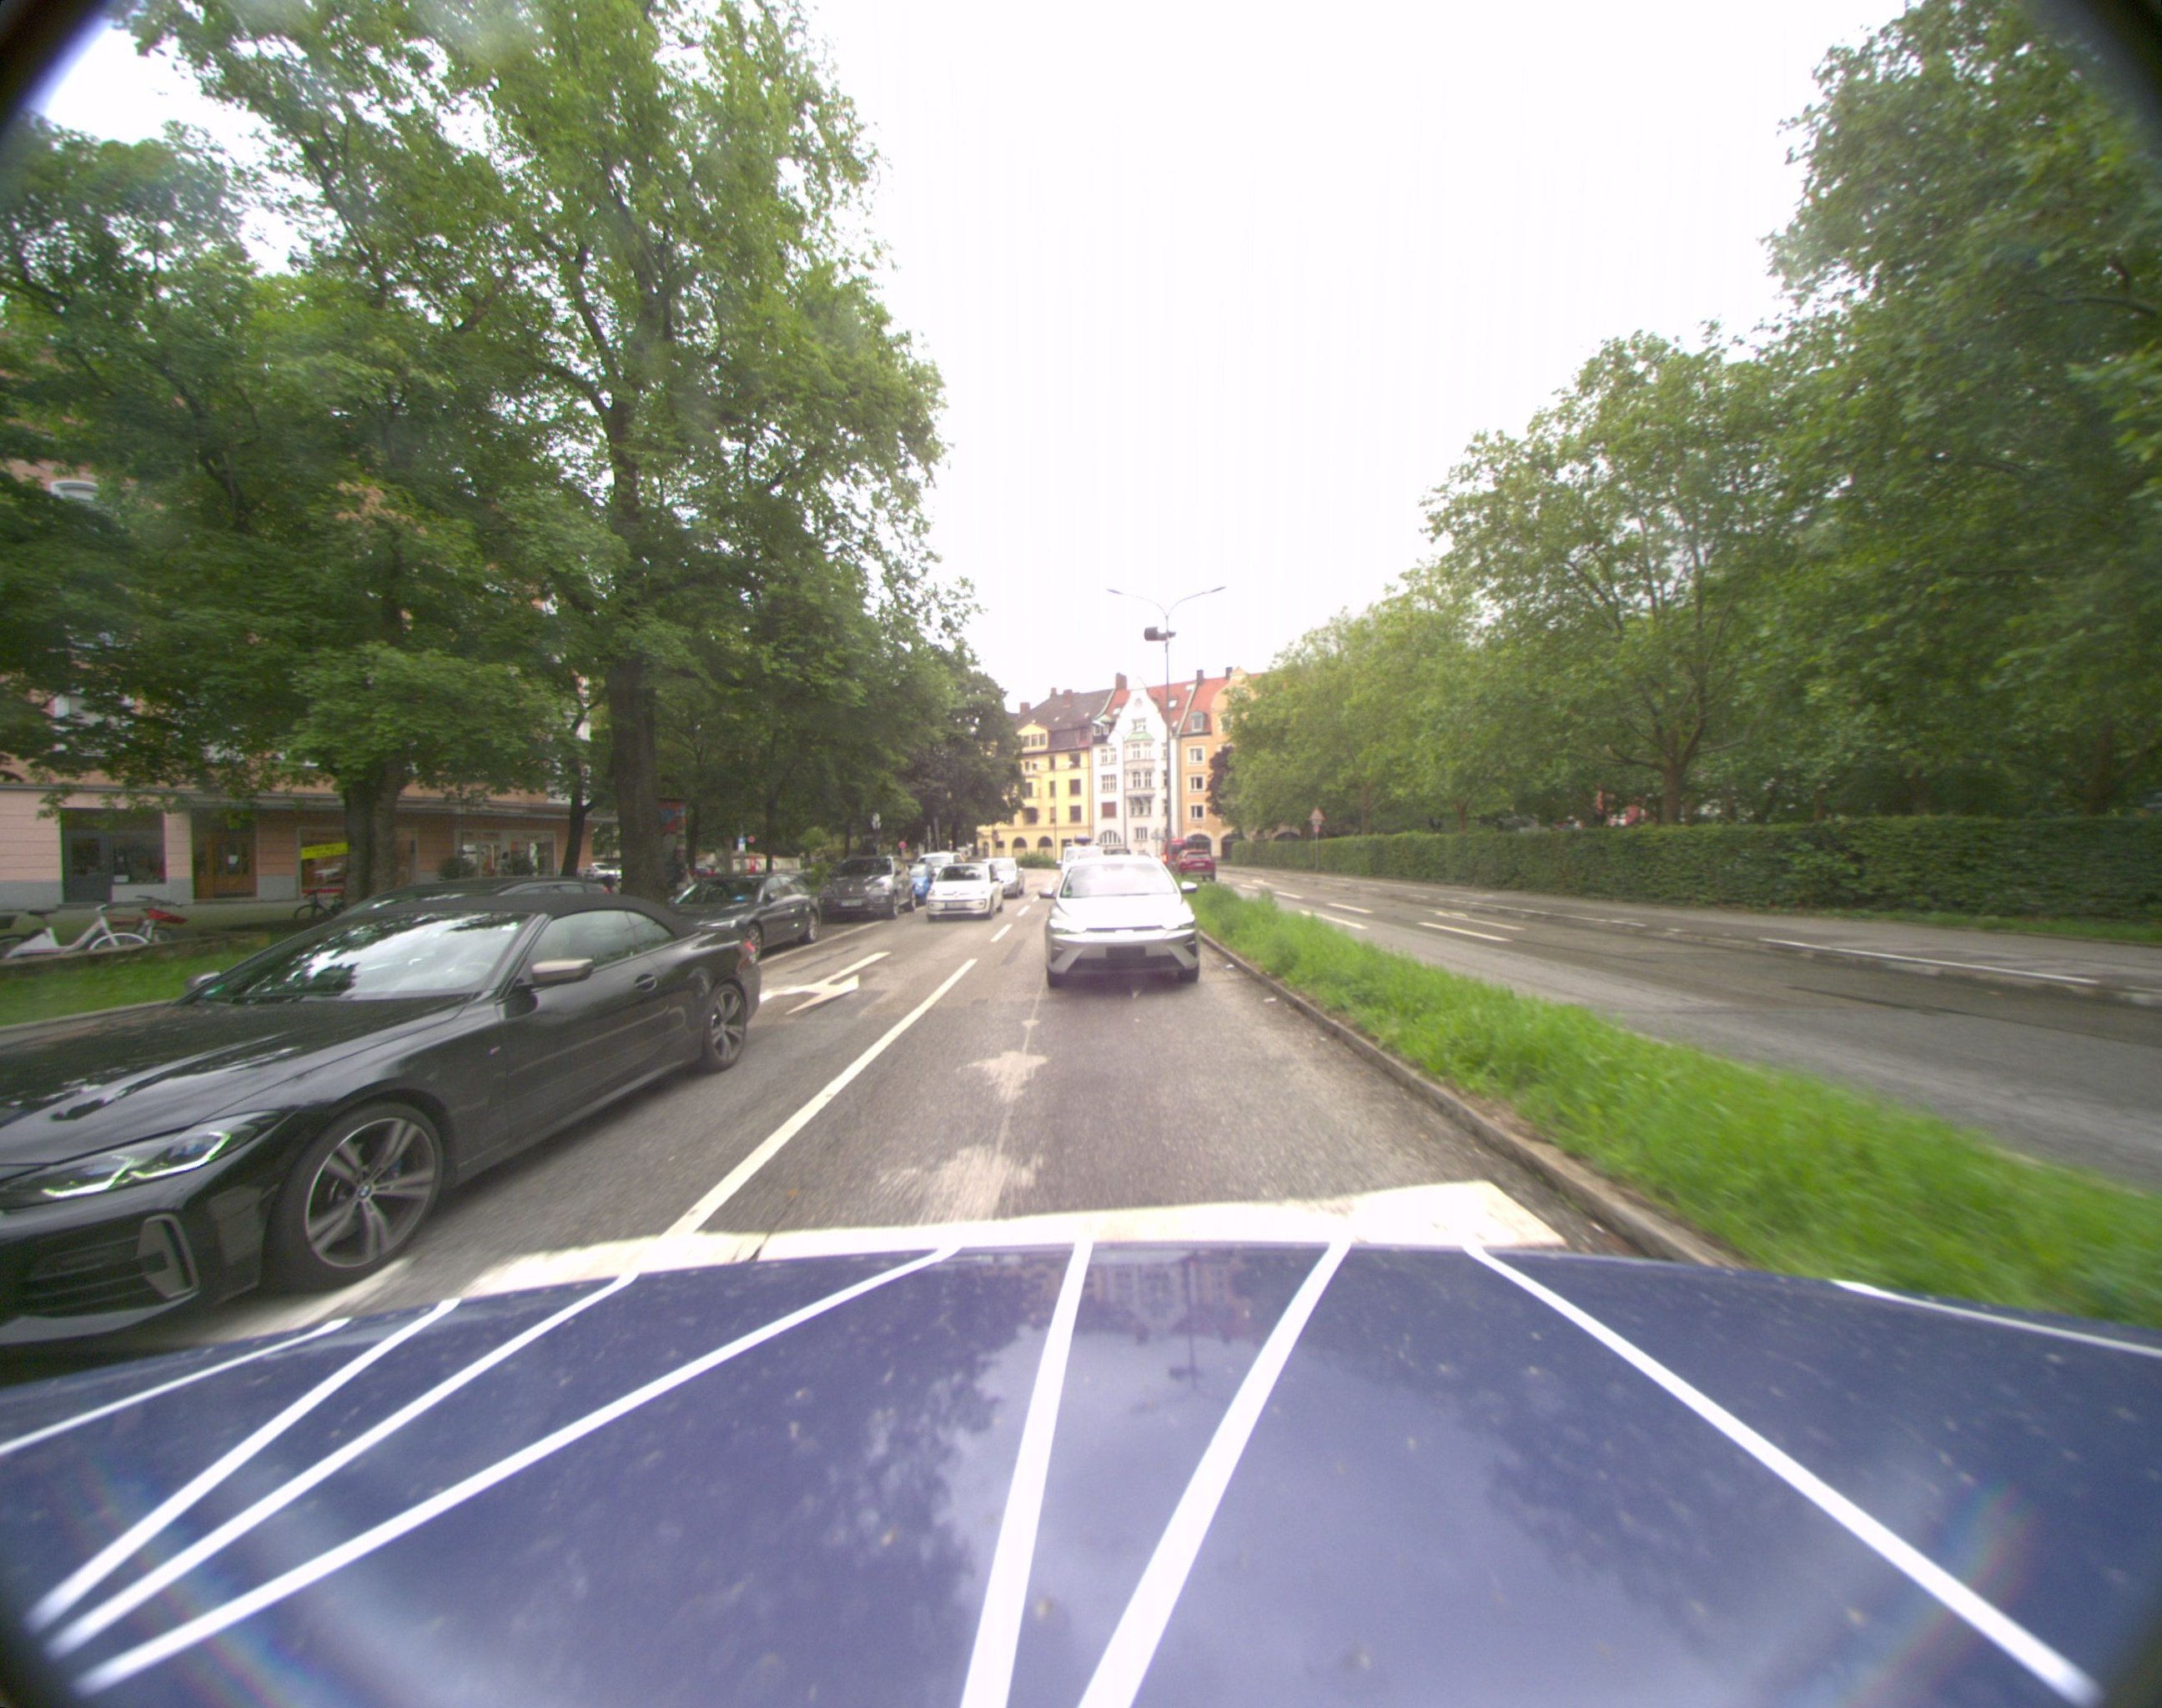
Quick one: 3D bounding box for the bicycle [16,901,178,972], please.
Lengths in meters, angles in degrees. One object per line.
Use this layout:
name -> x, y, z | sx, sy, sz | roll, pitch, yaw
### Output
bicycle -> -14.758, 1.223, 11.446 | 1.415, 0.889, 0.312 | -3, 2, -37

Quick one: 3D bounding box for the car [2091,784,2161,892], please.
car -> 28.027, -0.499, 17.758 | 5.858, 2.521, 2.000 | -2, 1, 3

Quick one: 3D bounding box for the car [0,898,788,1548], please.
car -> -3.568, 1.103, 4.340 | 1.728, 1.381, 4.799 | -1, 0, 2

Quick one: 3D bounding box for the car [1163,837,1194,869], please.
car -> 8.218, -0.035, 64.539 | 2.108, 2.573, 6.083 | 0, -1, 3

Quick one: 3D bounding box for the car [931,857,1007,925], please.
car -> -2.959, 0.912, 20.568 | 1.776, 1.515, 4.205 | -2, 1, -7

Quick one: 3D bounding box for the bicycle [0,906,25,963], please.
bicycle -> -17.281, 1.301, 11.551 | 0.313, 0.889, 1.413 | -2, 1, 6

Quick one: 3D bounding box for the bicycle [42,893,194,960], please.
bicycle -> -15.140, 1.121, 11.989 | 1.415, 0.889, 0.312 | -3, 2, -37

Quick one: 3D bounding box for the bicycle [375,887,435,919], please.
bicycle -> -17.622, 1.265, 19.841 | 0.318, 0.719, 1.179 | -2, 1, 11

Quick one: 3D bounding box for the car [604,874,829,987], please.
car -> -6.020, 1.166, 13.280 | 1.772, 1.452, 4.641 | -1, 0, -1

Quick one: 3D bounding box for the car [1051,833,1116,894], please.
car -> 0.207, 0.356, 31.547 | 1.911, 2.337, 4.948 | -1, 0, 9

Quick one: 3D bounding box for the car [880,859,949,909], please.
car -> -5.731, 0.988, 26.501 | 1.523, 1.540, 3.662 | -1, 0, 1

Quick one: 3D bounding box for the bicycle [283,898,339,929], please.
bicycle -> -19.282, 1.487, 19.027 | 1.177, 0.719, 0.319 | -2, 2, 9

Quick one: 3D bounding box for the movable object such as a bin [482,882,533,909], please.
movable object such as a bin -> -19.684, 1.407, 26.085 | 1.179, 0.867, 0.774 | -1, 1, 8

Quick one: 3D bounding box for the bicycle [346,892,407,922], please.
bicycle -> -19.619, 1.462, 21.169 | 0.318, 0.719, 1.180 | -2, 1, 22

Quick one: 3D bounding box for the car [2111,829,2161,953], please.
car -> 17.650, 0.492, 11.450 | 3.526, 1.753, 1.774 | -3, 1, -23

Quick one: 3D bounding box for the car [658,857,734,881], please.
car -> -27.074, 1.035, 53.454 | 4.436, 1.458, 1.862 | -2, 1, 10

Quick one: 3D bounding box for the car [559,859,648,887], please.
car -> -29.147, 1.140, 46.430 | 4.436, 1.458, 1.862 | -2, 1, 10

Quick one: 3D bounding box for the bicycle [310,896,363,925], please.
bicycle -> -19.514, 1.481, 19.911 | 1.177, 0.719, 0.319 | -2, 2, 9

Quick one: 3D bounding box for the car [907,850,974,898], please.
car -> -5.900, 0.777, 32.444 | 1.848, 1.845, 5.023 | -1, 0, 1

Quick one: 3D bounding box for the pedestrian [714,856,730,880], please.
pedestrian -> -23.559, 0.912, 49.826 | 0.602, 1.543, 0.644 | -2, 2, 6

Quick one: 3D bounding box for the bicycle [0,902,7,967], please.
bicycle -> -15.312, 1.132, 9.919 | 1.415, 0.889, 0.312 | -3, 2, -37

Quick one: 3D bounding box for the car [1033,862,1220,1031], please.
car -> 0.539, 0.935, 9.561 | 1.775, 1.515, 4.208 | -2, 1, 3

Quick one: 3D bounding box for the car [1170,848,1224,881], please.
car -> 6.102, 0.556, 40.569 | 2.109, 1.628, 4.939 | 0, -1, 0

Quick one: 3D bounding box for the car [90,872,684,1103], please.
car -> -6.270, 1.037, 7.832 | 1.835, 1.540, 4.554 | -1, 0, 1

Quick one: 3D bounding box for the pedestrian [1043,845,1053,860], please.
pedestrian -> -4.492, -0.255, 104.003 | 1.005, 2.002, 0.880 | -2, 2, 33

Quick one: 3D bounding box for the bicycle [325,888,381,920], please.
bicycle -> -18.038, 1.240, 18.829 | 1.177, 0.719, 0.319 | -2, 2, 9

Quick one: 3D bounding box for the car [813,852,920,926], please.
car -> -5.819, 0.860, 21.214 | 1.937, 1.809, 4.552 | -1, 0, -4

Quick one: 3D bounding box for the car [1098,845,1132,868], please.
car -> 2.952, 0.211, 67.516 | 1.864, 1.979, 4.699 | -1, 0, -12

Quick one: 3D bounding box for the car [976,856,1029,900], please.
car -> -2.958, 0.867, 29.204 | 1.648, 1.521, 3.886 | -1, 0, 0

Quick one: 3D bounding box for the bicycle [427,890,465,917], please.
bicycle -> -17.668, 1.375, 21.143 | 1.176, 0.719, 0.319 | -2, 2, 26
